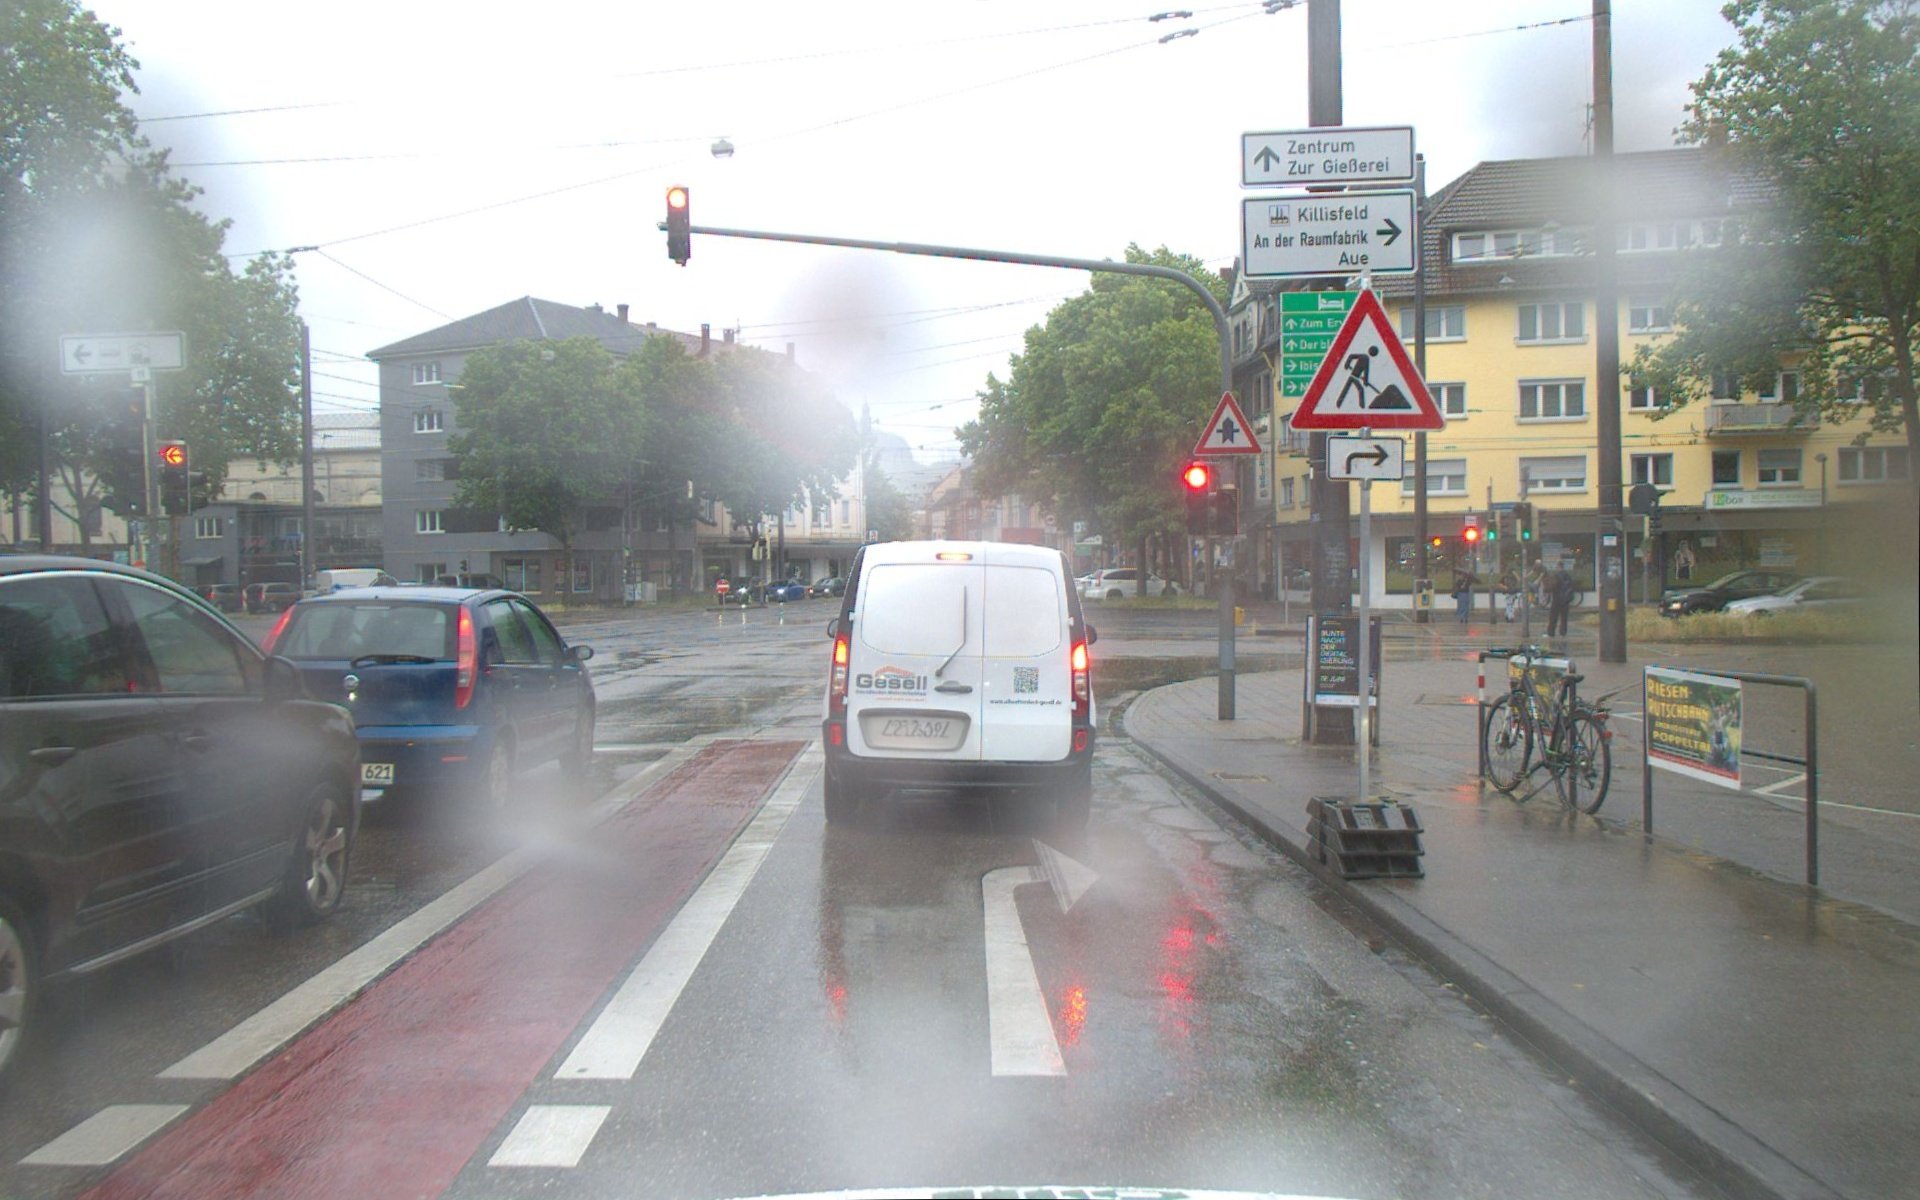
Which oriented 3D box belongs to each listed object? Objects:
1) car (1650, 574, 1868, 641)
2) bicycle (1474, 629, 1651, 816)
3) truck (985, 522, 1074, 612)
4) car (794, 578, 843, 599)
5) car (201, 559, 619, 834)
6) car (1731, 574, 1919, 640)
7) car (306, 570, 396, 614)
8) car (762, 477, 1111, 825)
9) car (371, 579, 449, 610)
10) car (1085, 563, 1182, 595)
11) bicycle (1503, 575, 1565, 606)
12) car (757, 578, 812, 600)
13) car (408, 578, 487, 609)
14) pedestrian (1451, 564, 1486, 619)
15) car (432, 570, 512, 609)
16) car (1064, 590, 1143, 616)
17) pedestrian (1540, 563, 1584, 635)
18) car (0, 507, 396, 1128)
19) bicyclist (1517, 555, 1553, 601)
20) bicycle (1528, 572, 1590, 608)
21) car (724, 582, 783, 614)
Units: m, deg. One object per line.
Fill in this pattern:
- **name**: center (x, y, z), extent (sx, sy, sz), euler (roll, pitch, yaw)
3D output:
- **car**: center (21.004, 0.196, 43.662), extent (4.832, 1.672, 2.001), euler (0, -2, 12)
- **bicycle**: center (4.228, 0.815, 11.763), extent (0.503, 1.126, 2.017), euler (3, 1, 1)
- **truck**: center (4.498, -1.966, 102.986), extent (3.395, 5.176, 15.320), euler (1, 0, 10)
- **car**: center (-9.238, -0.755, 108.168), extent (1.909, 1.260, 4.003), euler (0, 2, 16)
- **car**: center (-3.634, 0.552, 11.660), extent (1.692, 1.606, 3.820), euler (1, 0, -1)
- **car**: center (21.125, 0.149, 40.431), extent (3.854, 1.516, 1.808), euler (0, 2, 15)
- **car**: center (-33.781, -0.480, 91.883), extent (1.953, 2.236, 4.787), euler (2, 2, 23)
- **car**: center (-0.160, 0.291, 12.217), extent (2.057, 2.047, 4.962), euler (0, 0, -1)
- **car**: center (-30.576, -0.338, 92.037), extent (1.916, 1.522, 3.997), euler (3, 3, 26)
- **car**: center (7.717, -0.939, 73.697), extent (4.088, 1.362, 1.518), euler (0, 2, -8)
- **bicycle**: center (19.931, -0.319, 57.450), extent (1.974, 1.045, 0.660), euler (1, 0, 12)
- **car**: center (-10.627, -0.685, 100.328), extent (1.909, 1.260, 4.003), euler (0, 2, 16)
- **car**: center (-28.257, -0.388, 91.323), extent (1.954, 1.556, 3.997), euler (1, 2, 26)
- **pedestrian**: center (14.736, -0.250, 47.937), extent (0.808, 1.560, 0.614), euler (0, 0, -39)
- **car**: center (-26.338, -0.551, 89.299), extent (1.954, 2.049, 3.996), euler (1, 0, 26)
- **car**: center (6.562, 0.133, 75.714), extent (3.377, 1.150, 1.469), euler (1, 0, -8)
- **pedestrian**: center (14.613, -0.032, 40.119), extent (0.886, 1.698, 1.019), euler (1, 0, 26)
- **car**: center (-3.529, 0.577, 5.648), extent (1.797, 1.697, 4.172), euler (1, 0, -1)
- **bicyclist**: center (19.968, -0.768, 57.417), extent (1.043, 1.574, 0.937), euler (1, 0, 11)
- **bicycle**: center (21.784, -0.374, 60.174), extent (2.056, 1.283, 0.532), euler (0, 1, 14)
- **car**: center (-11.736, -0.143, 94.056), extent (1.909, 1.635, 4.003), euler (1, 2, 16)
